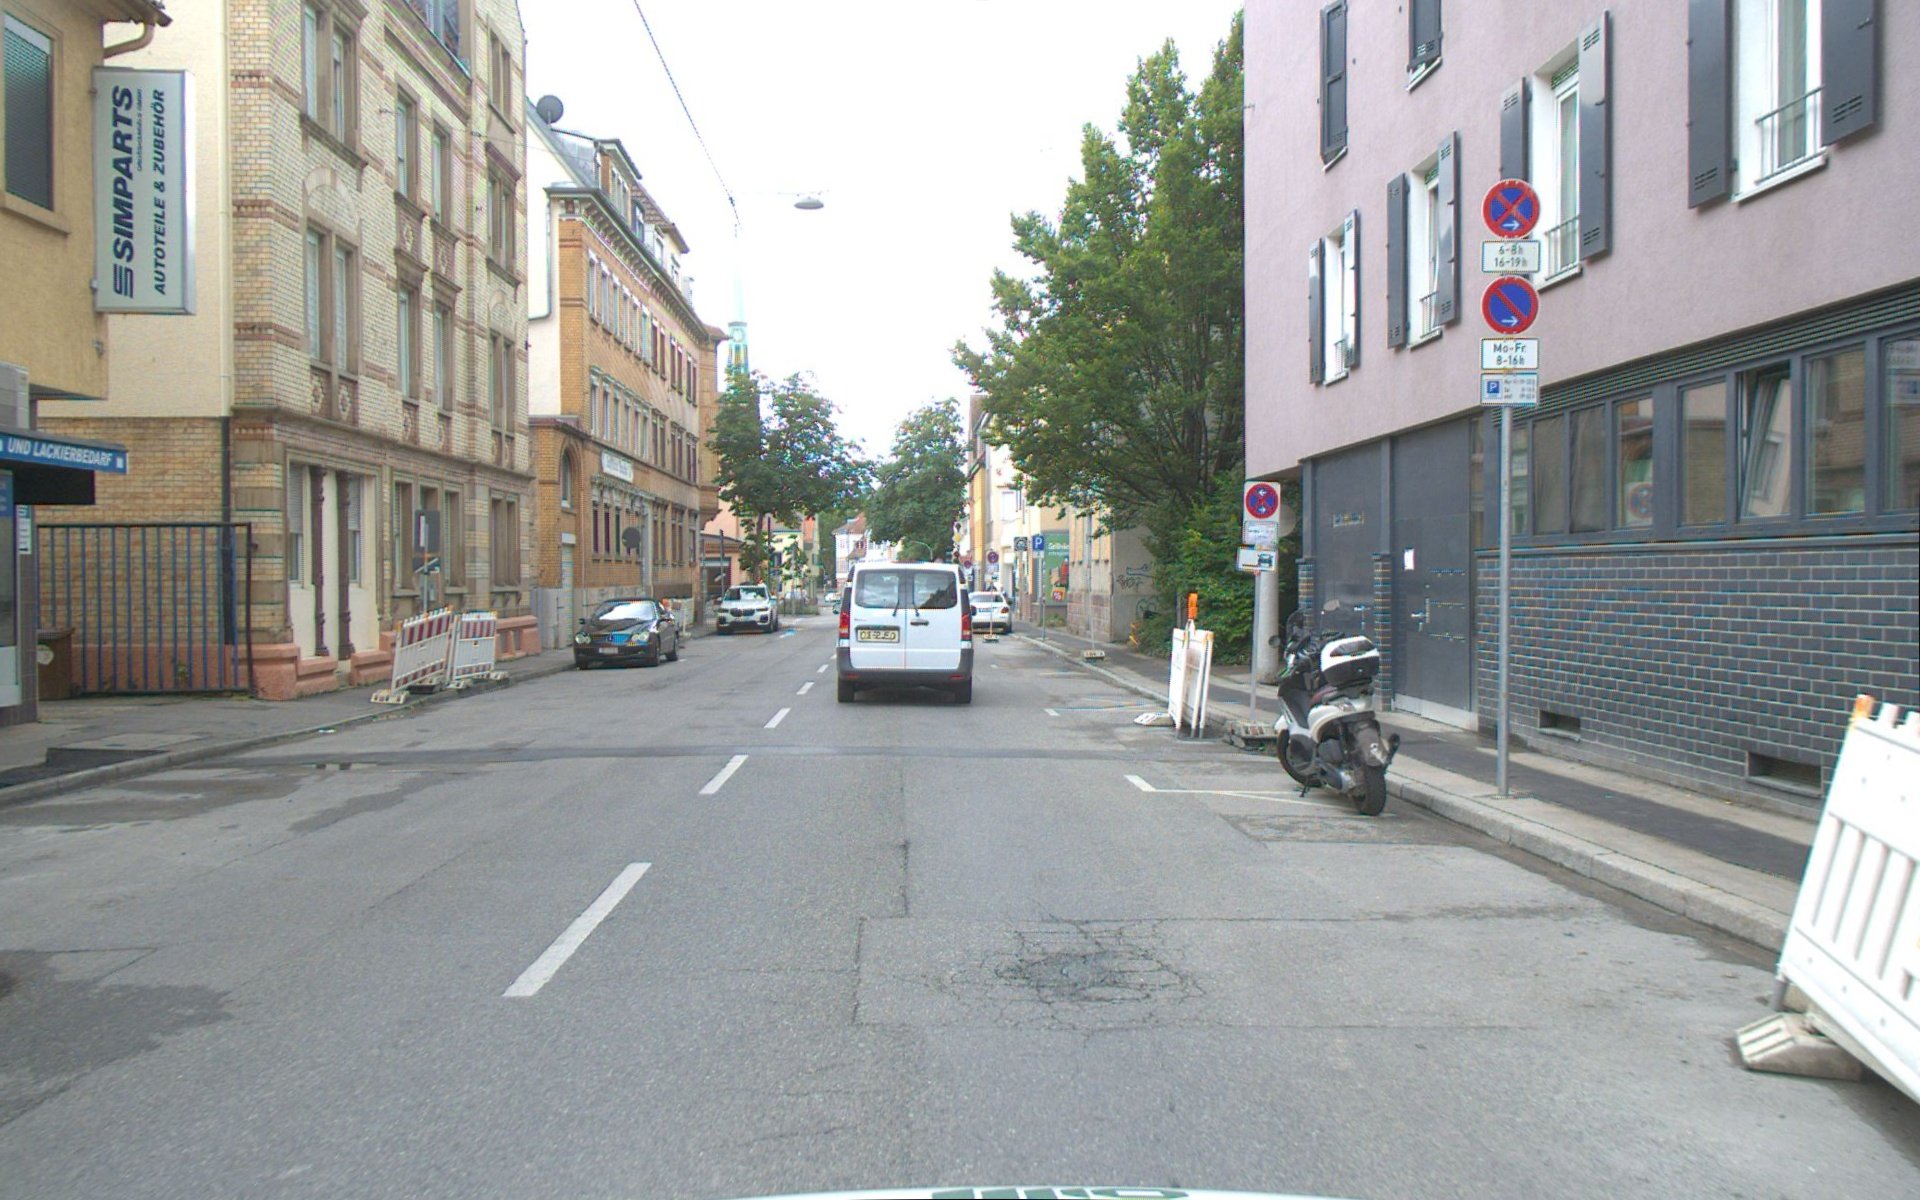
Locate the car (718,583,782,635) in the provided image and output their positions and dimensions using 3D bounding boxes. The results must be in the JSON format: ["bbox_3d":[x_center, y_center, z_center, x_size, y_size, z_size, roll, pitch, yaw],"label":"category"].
[{"bbox_3d":[-7.613,0.295,60.353,1.853,1.742,4.739,-2,0,-2],"label":"car"}]

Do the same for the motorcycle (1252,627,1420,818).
[{"bbox_3d":[2.777,0.856,12.472,0.634,1.247,2.336,1,0,-2],"label":"motorcycle"}]

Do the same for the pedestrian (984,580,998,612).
[{"bbox_3d":[1.677,-0.198,88.833,0.602,1.681,0.982,1,0,-4],"label":"pedestrian"}]

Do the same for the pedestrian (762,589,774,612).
[{"bbox_3d":[-12.935,0.031,111.549,0.724,1.561,0.982,0,0,-5],"label":"pedestrian"}]

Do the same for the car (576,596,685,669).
[{"bbox_3d":[-6.995,0.650,35.473,1.547,1.407,4.353,-2,0,-2],"label":"car"}]

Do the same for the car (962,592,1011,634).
[{"bbox_3d":[0.954,0.452,60.883,1.731,1.491,4.783,0,0,0],"label":"car"}]

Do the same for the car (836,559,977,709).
[{"bbox_3d":[-0.795,0.429,23.536,1.835,1.945,3.998,0,0,-3],"label":"car"}]

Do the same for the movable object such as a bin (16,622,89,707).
[{"bbox_3d":[-11.883,0.837,21.667,0.580,1.053,0.613,-2,0,0],"label":"movable object such as a bin"}]

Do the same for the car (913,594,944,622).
[{"bbox_3d":[-2.101,0.504,109.352,1.784,1.812,4.398,0,0,-5],"label":"car"}]
